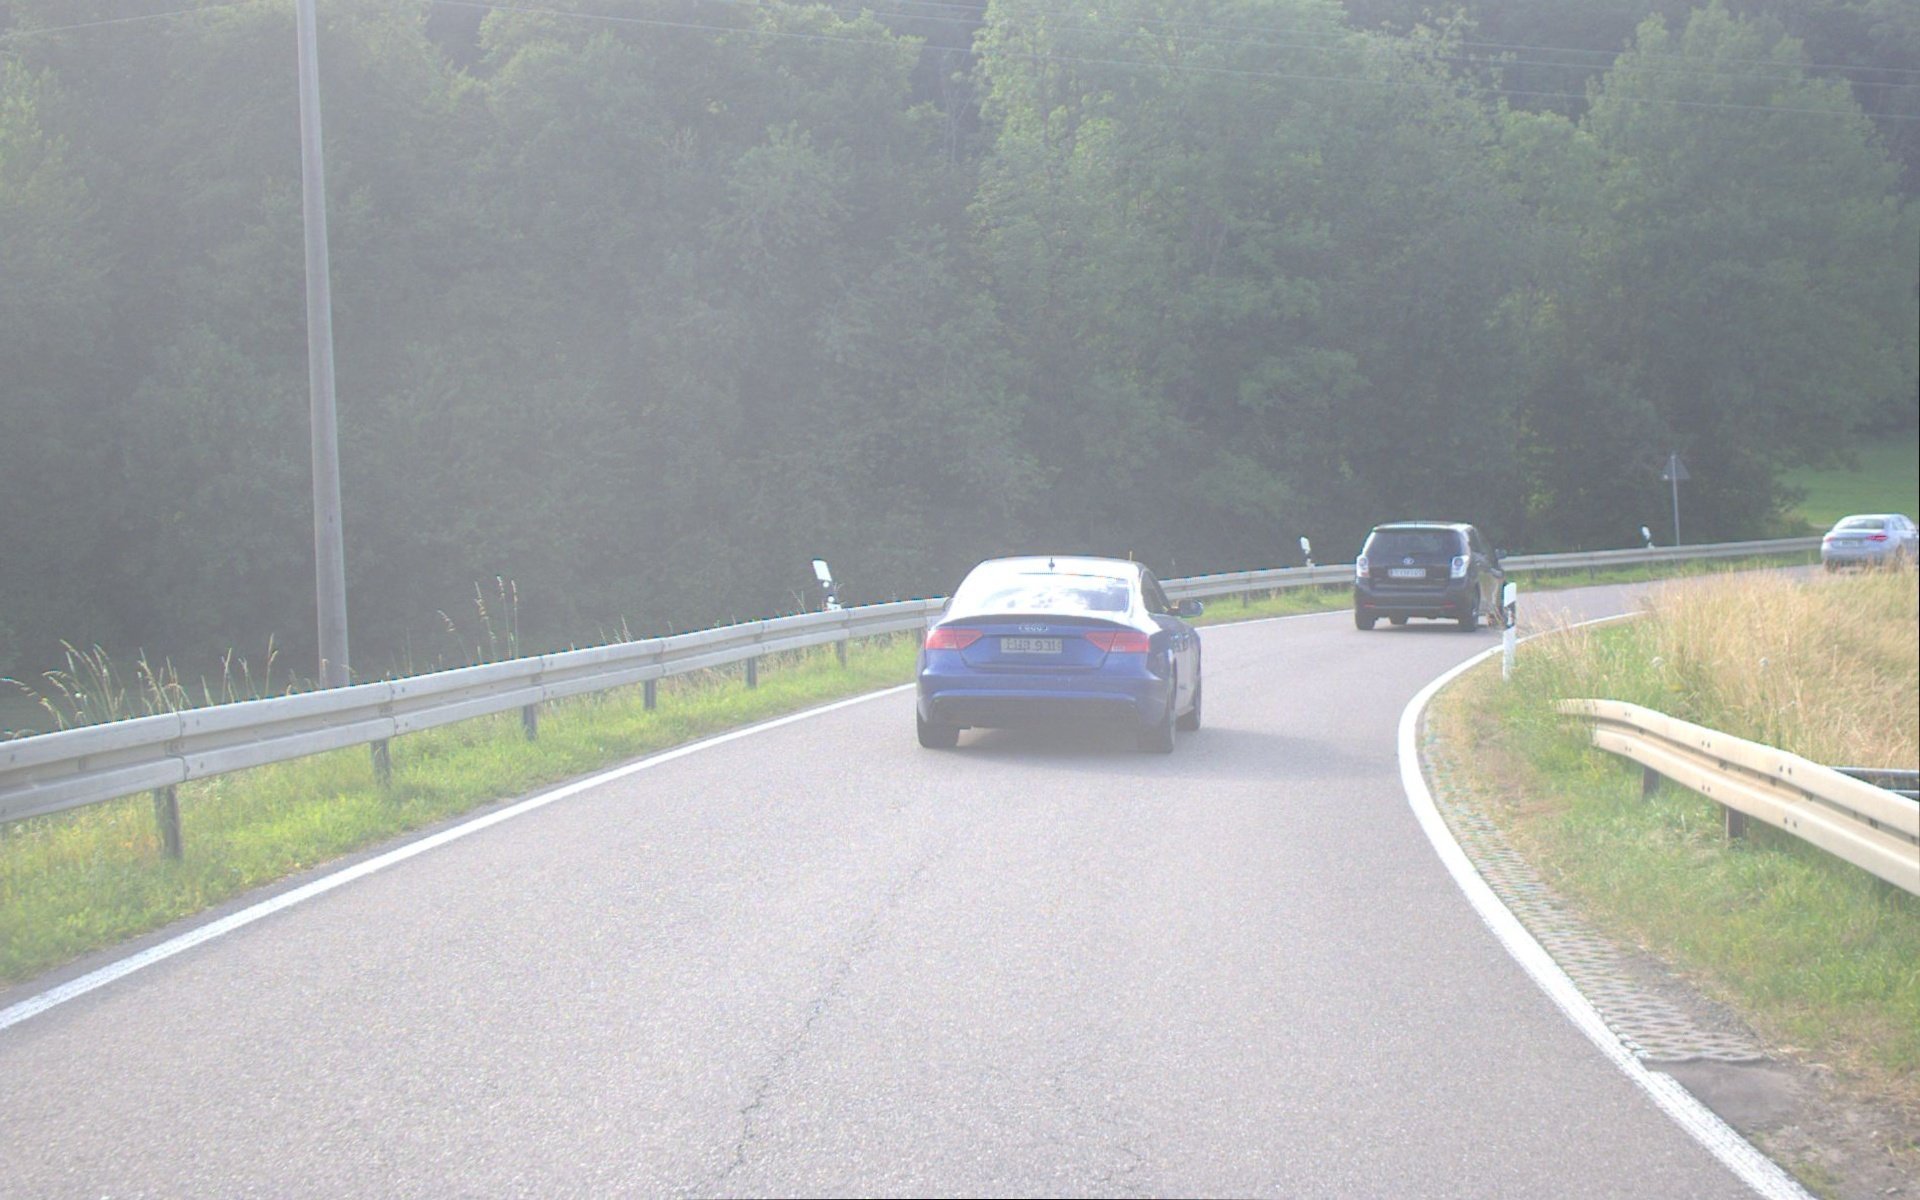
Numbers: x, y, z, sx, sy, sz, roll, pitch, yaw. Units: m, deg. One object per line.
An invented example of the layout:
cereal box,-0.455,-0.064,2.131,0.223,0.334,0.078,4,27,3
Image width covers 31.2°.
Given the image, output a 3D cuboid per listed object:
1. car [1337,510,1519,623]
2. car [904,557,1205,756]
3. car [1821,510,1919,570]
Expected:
car,7.105,-0.538,51.867,1.864,1.563,3.996,3,2,20
car,0.791,0.353,25.548,1.819,1.334,4.349,0,1,7
car,22.728,-1.502,84.763,1.685,1.371,3.993,-2,1,33
